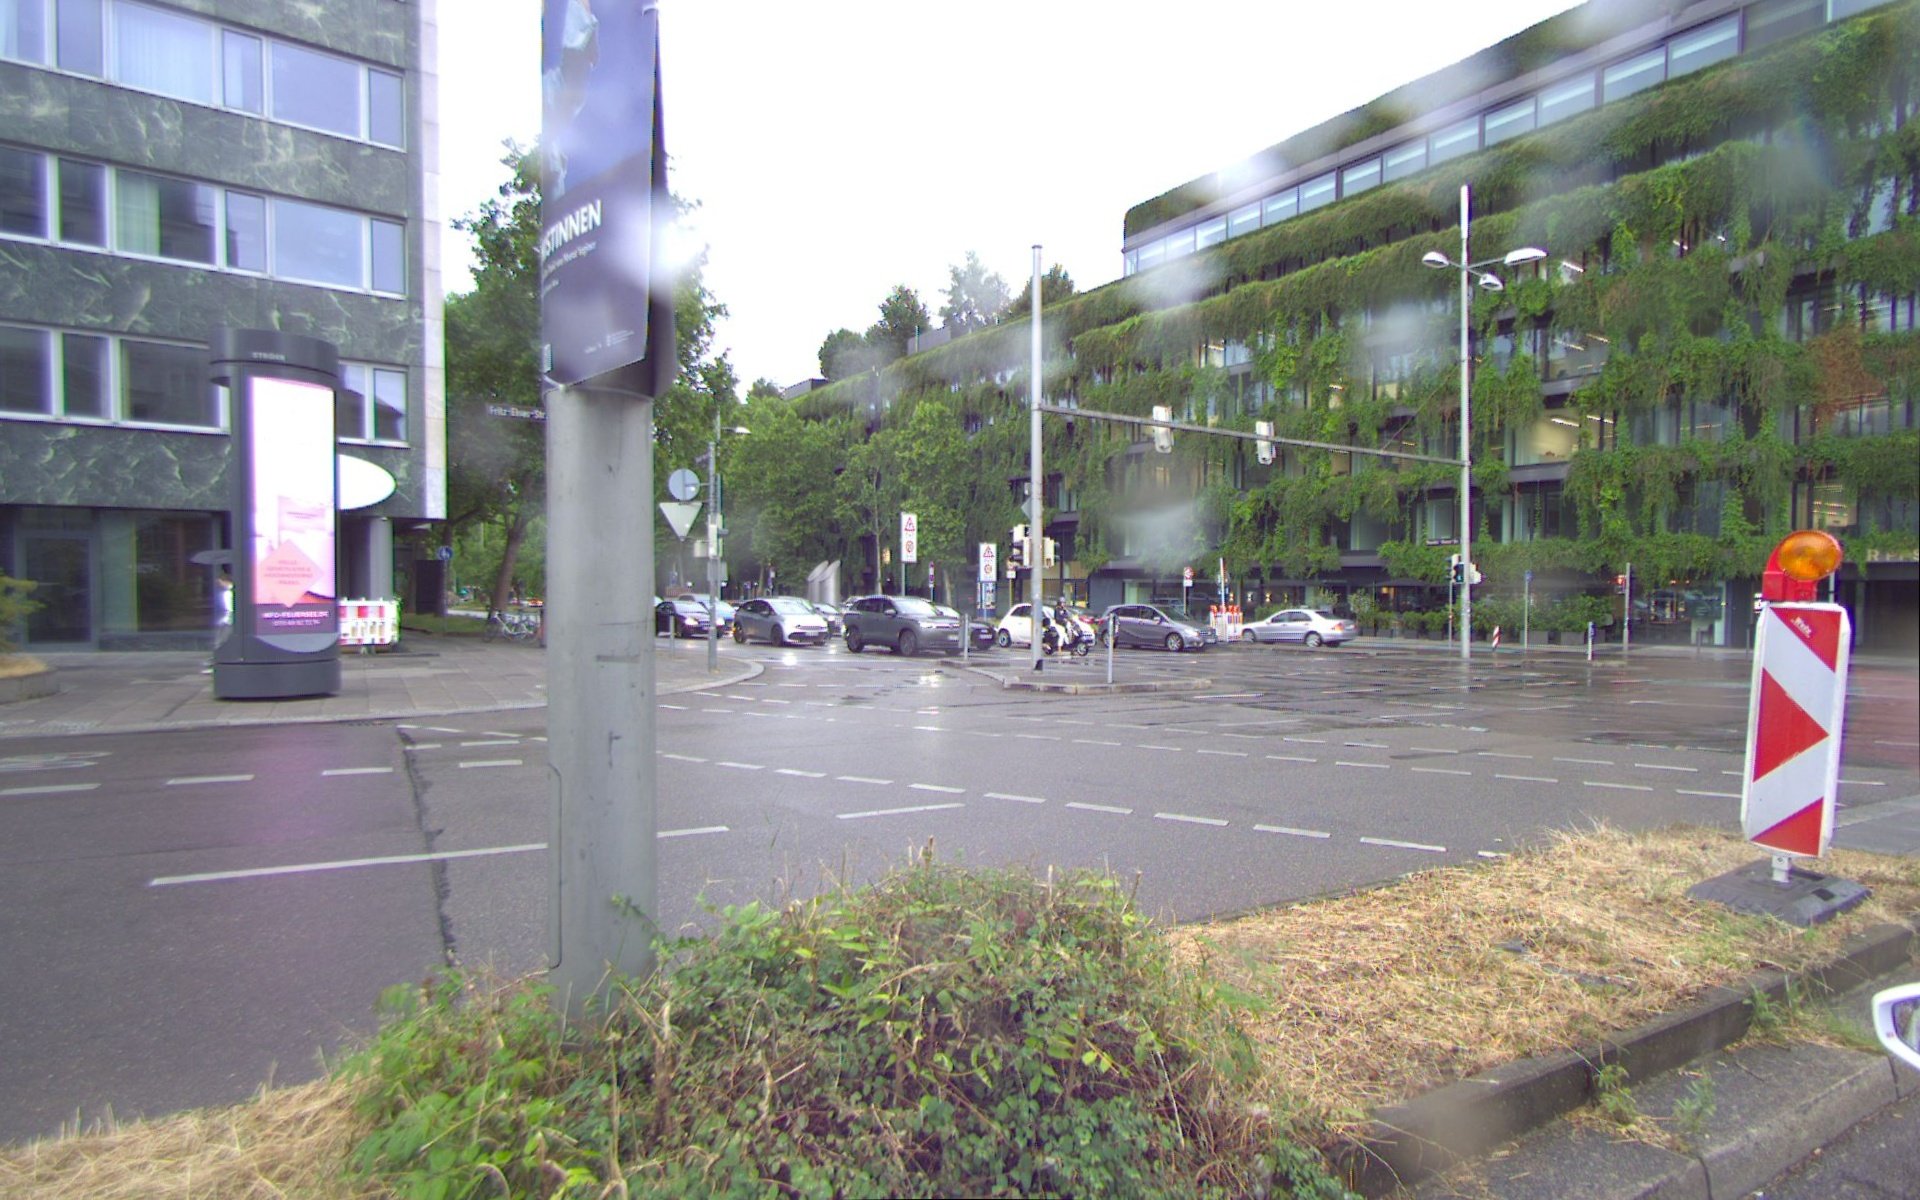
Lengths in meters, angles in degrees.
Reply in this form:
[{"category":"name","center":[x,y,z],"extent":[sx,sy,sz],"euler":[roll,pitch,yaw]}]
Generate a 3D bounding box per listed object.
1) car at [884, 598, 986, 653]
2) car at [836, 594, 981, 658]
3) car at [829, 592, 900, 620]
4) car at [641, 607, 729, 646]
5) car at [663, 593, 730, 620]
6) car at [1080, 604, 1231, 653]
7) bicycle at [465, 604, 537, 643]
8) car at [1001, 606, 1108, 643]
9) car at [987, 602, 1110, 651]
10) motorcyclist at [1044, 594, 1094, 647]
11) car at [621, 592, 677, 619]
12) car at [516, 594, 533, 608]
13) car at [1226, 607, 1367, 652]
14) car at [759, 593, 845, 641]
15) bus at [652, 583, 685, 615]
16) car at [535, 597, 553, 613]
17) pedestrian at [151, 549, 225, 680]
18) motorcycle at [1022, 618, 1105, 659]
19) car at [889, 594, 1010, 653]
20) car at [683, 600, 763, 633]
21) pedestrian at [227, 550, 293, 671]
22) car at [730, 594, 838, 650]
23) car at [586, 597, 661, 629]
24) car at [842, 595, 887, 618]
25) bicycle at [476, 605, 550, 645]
[{"category":"car","center":[-1.004,0.913,37.763],"extent":[1.978,1.923,4.139],"euler":[1,0,-33]},{"category":"car","center":[-1.575,0.702,29.130],"extent":[1.984,1.709,4.314],"euler":[1,0,-41]},{"category":"car","center":[-5.880,0.349,61.529],"extent":[1.799,1.532,4.636],"euler":[2,0,-45]},{"category":"car","center":[-10.894,1.003,39.624],"extent":[1.982,1.389,4.131],"euler":[1,0,-37]},{"category":"car","center":[-13.922,0.336,52.924],"extent":[1.982,1.389,4.131],"euler":[1,0,-37]},{"category":"car","center":[6.625,0.935,34.409],"extent":[4.842,1.508,1.922],"euler":[1,0,45]},{"category":"bicycle","center":[-12.970,0.663,28.411],"extent":[1.765,1.066,0.581],"euler":[1,0,-35]},{"category":"car","center":[4.343,1.129,46.780],"extent":[1.986,1.496,4.801],"euler":[3,-1,-43]},{"category":"car","center":[2.879,0.857,33.464],"extent":[1.981,1.495,3.958],"euler":[1,0,-37]},{"category":"motorcyclist","center":[3.140,0.582,28.991],"extent":[1.153,1.492,0.832],"euler":[2,0,40]},{"category":"car","center":[-18.676,0.331,60.209],"extent":[1.918,1.544,4.057],"euler":[1,0,-38]},{"category":"car","center":[-62.744,0.130,144.785],"extent":[1.975,2.040,3.972],"euler":[1,0,-27]},{"category":"car","center":[12.668,1.095,38.049],"extent":[1.987,1.497,4.672],"euler":[2,0,-44]},{"category":"car","center":[-6.285,0.646,39.669],"extent":[1.841,1.791,4.139],"euler":[1,0,-32]},{"category":"bus","center":[-32.010,-0.157,110.234],"extent":[1.783,3.385,5.922],"euler":[2,0,-34]},{"category":"car","center":[-57.192,0.637,138.159],"extent":[1.975,2.040,3.972],"euler":[2,0,-27]},{"category":"pedestrian","center":[-12.319,0.231,16.044],"extent":[0.715,2.040,0.598],"euler":[1,0,-10]},{"category":"motorcycle","center":[2.986,1.086,29.115],"extent":[2.331,1.068,0.830],"euler":[2,0,41]},{"category":"car","center":[-0.409,0.709,32.578],"extent":[1.981,1.773,3.958],"euler":[1,0,-37]},{"category":"car","center":[-10.668,0.698,45.022],"extent":[1.982,1.389,4.131],"euler":[1,0,-37]},{"category":"pedestrian","center":[-12.009,0.181,17.254],"extent":[0.715,2.040,0.598],"euler":[1,0,-10]},{"category":"car","center":[-6.012,0.698,34.034],"extent":[1.982,1.773,3.956],"euler":[1,0,-38]},{"category":"car","center":[-15.174,0.564,45.227],"extent":[1.982,1.389,4.131],"euler":[1,0,-37]},{"category":"car","center":[-7.358,0.488,77.246],"extent":[1.783,1.588,3.962],"euler":[2,0,-34]},{"category":"bicycle","center":[-12.292,0.679,27.634],"extent":[1.765,1.066,0.581],"euler":[1,0,-35]}]
